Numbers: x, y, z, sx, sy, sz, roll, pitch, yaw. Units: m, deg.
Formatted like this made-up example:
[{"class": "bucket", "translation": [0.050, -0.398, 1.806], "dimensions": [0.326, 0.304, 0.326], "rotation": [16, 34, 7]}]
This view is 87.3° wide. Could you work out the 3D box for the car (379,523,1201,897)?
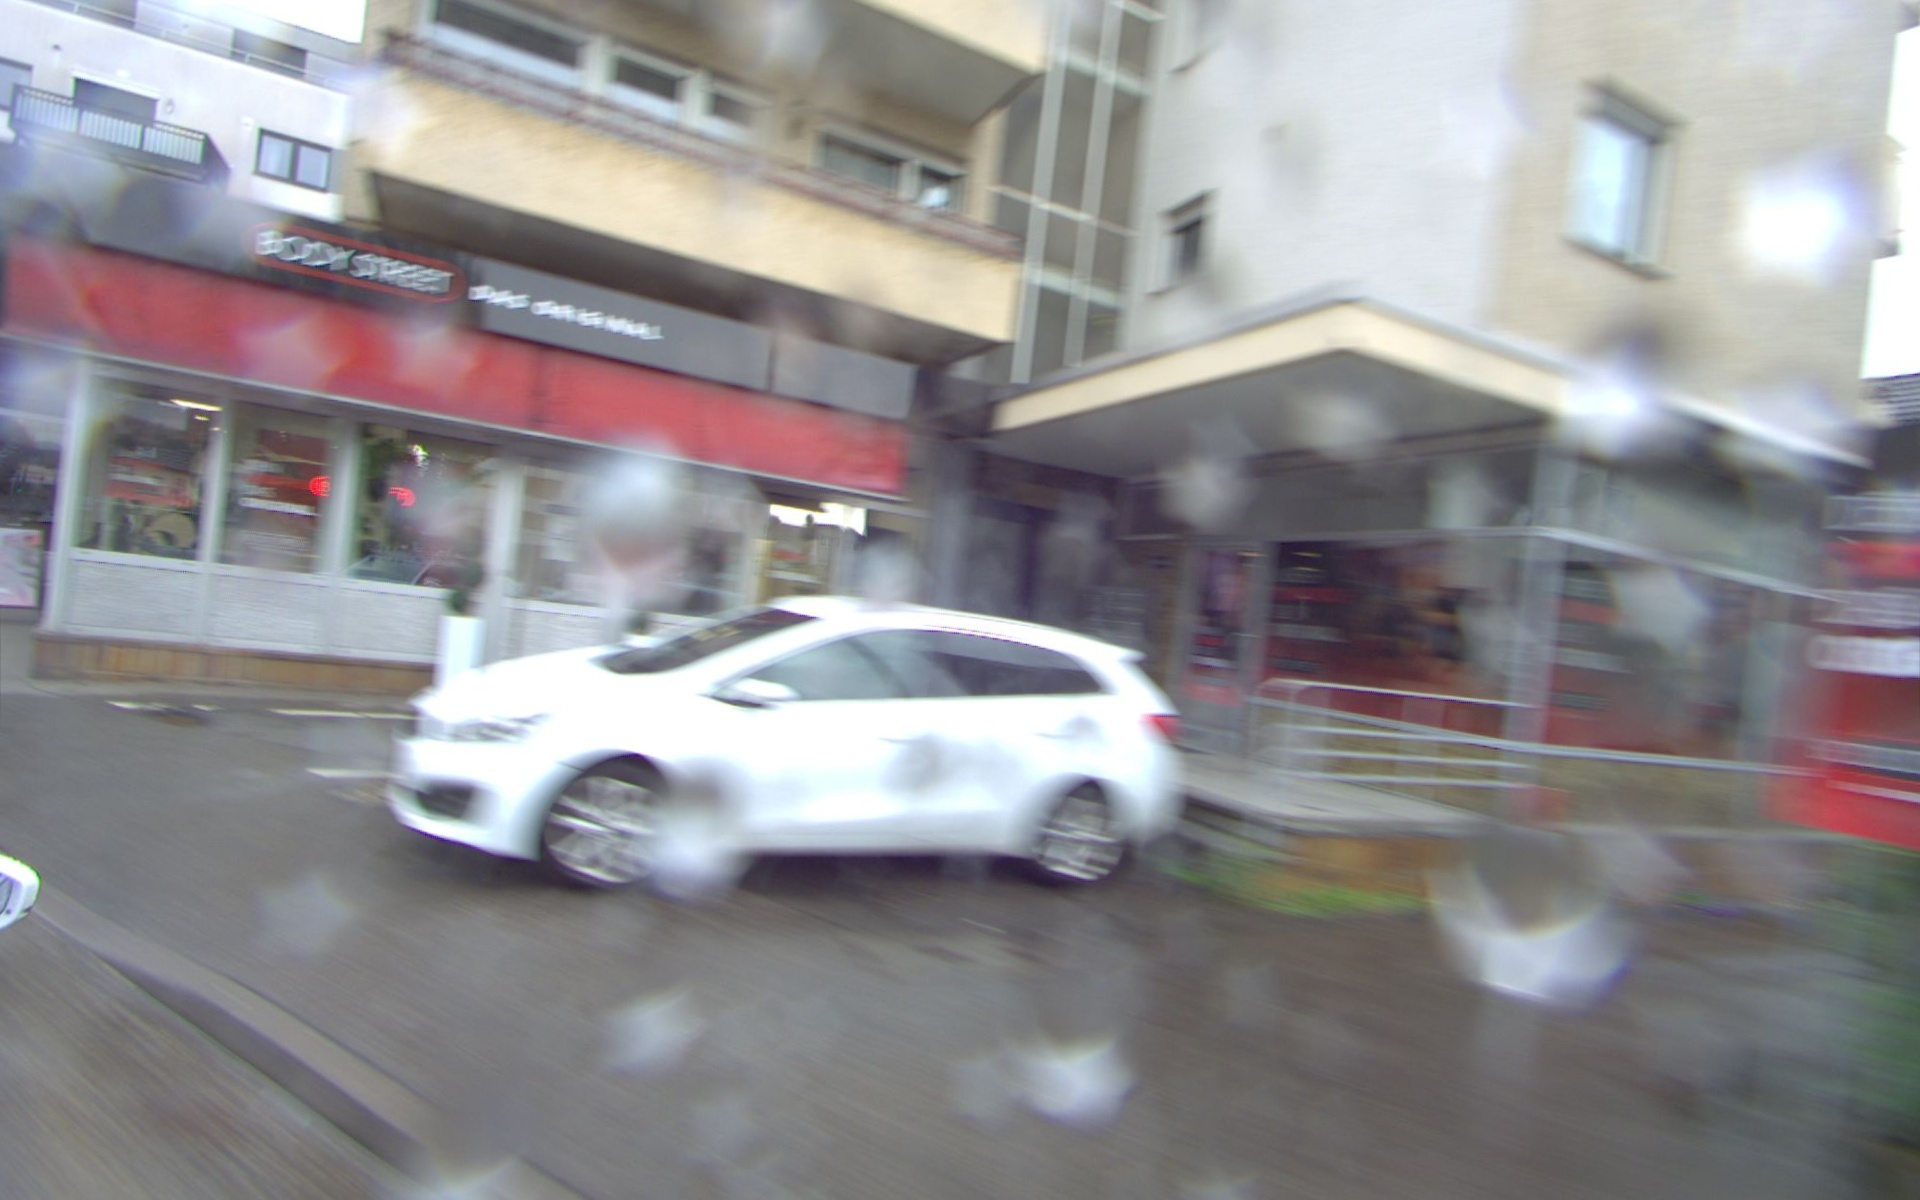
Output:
[{"class": "car", "translation": [-0.880, 0.675, 5.908], "dimensions": [4.227, 1.512, 1.858], "rotation": [9, 0, -30]}]
